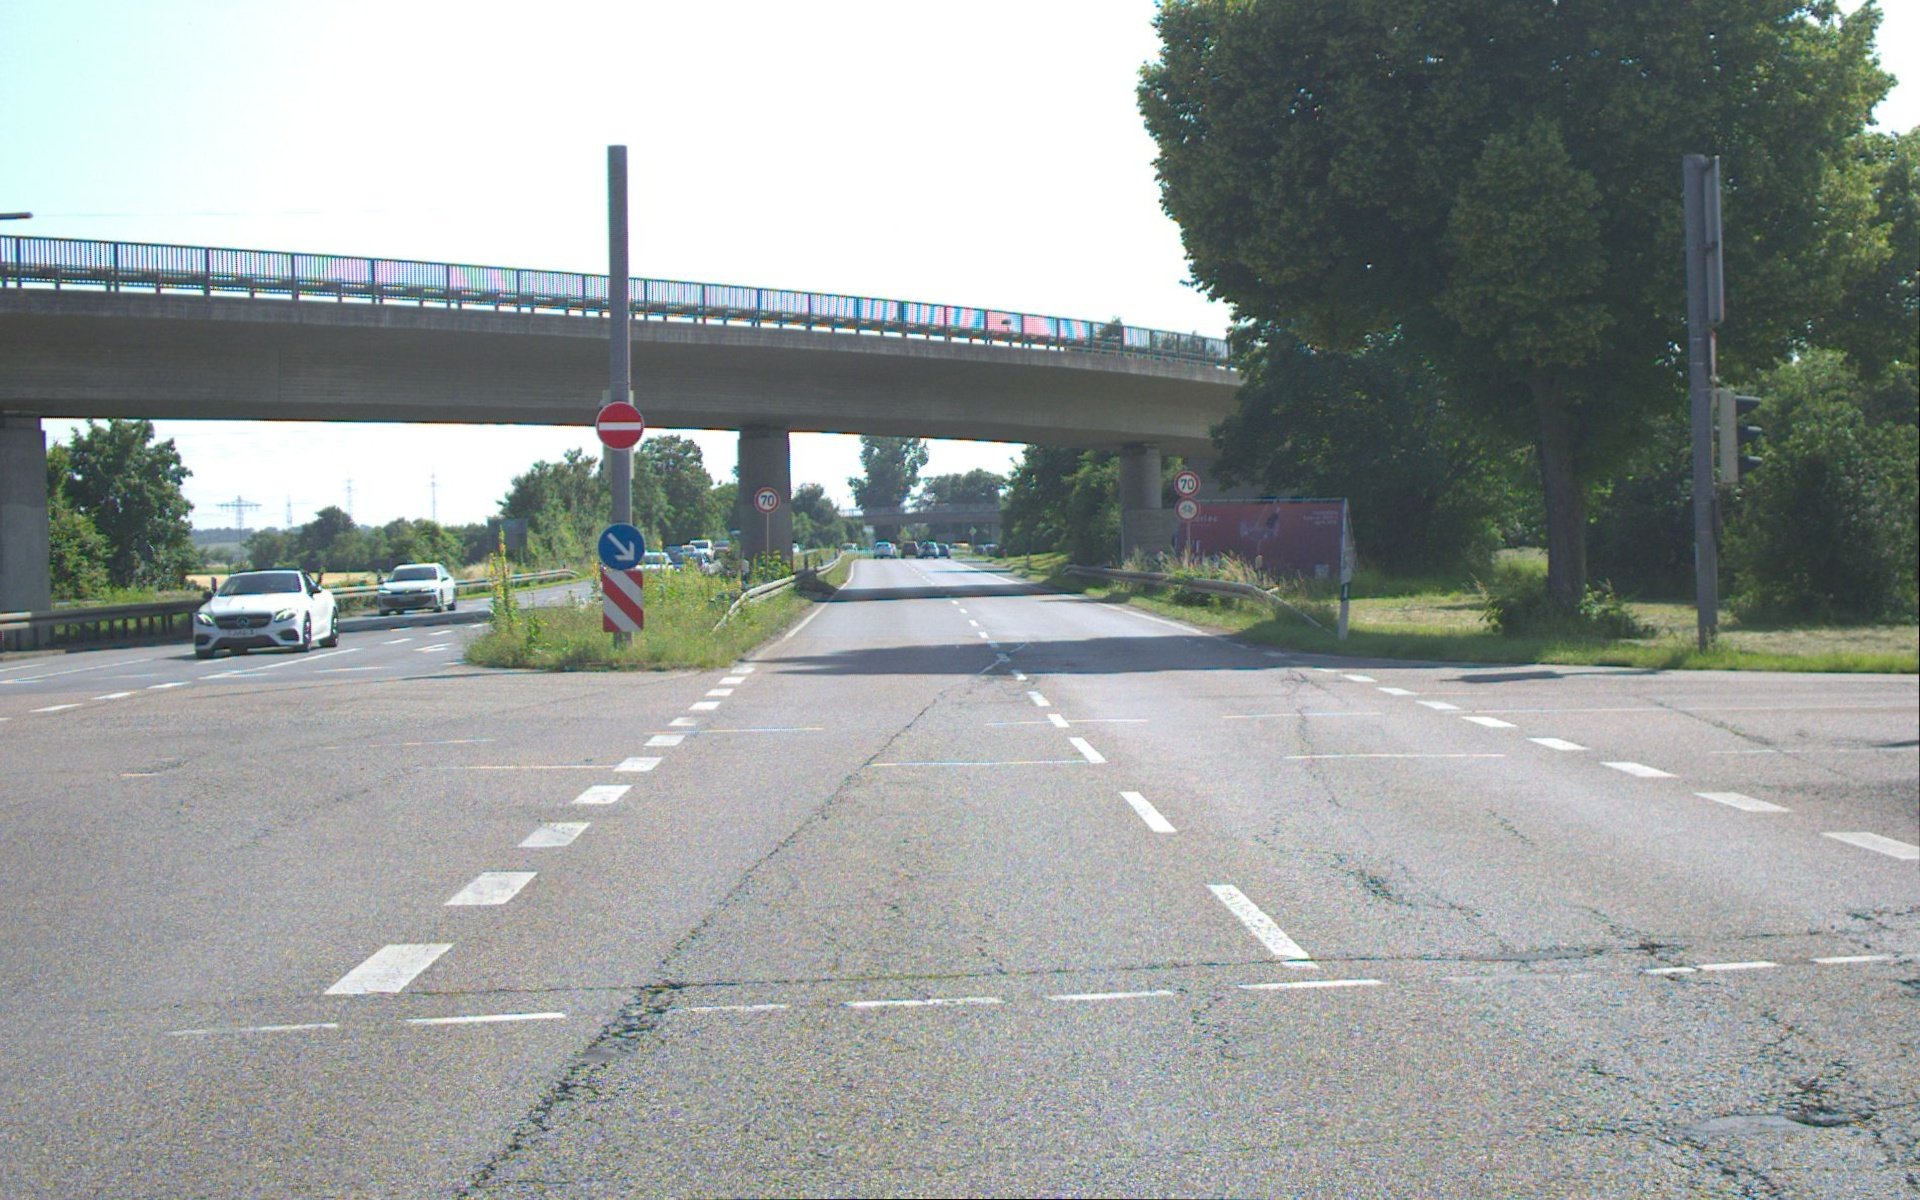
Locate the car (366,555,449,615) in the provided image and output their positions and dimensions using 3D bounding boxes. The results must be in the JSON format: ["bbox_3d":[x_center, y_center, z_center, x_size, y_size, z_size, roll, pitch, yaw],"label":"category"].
[{"bbox_3d":[-15.895,-0.450,99.031,1.790,1.622,4.000,-2,1,-2],"label":"car"}]

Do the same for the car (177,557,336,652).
[{"bbox_3d":[-11.963,0.048,58.729,1.856,1.443,4.241,-3,1,-1],"label":"car"}]
